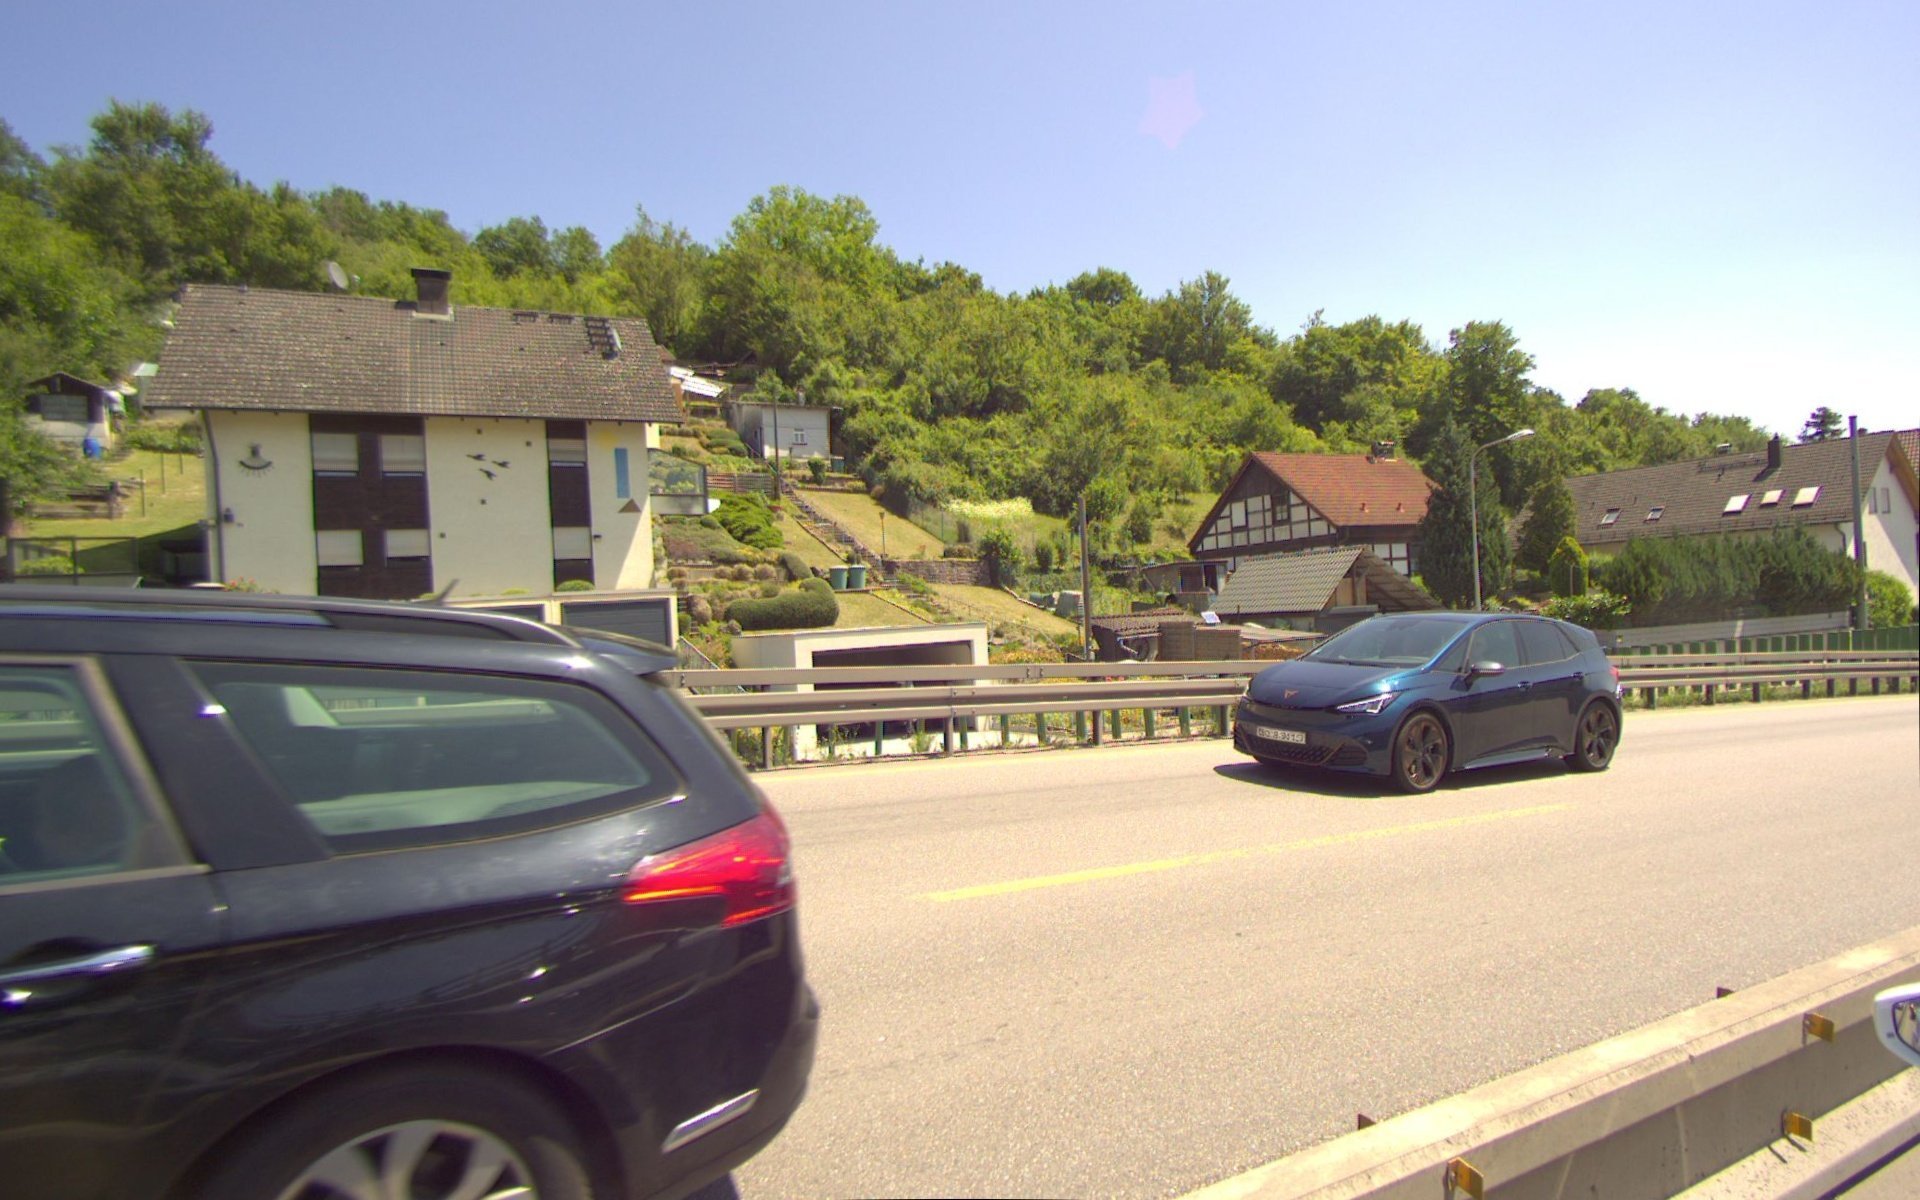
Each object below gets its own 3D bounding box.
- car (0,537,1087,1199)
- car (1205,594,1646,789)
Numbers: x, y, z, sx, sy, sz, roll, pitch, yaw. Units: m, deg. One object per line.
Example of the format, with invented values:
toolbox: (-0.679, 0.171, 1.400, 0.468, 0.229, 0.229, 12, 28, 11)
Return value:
car: (-2.181, 0.654, 2.031, 4.597, 1.524, 1.983, 3, -1, -31)
car: (4.611, 0.800, 9.818, 4.207, 1.536, 1.834, 3, -1, -30)
